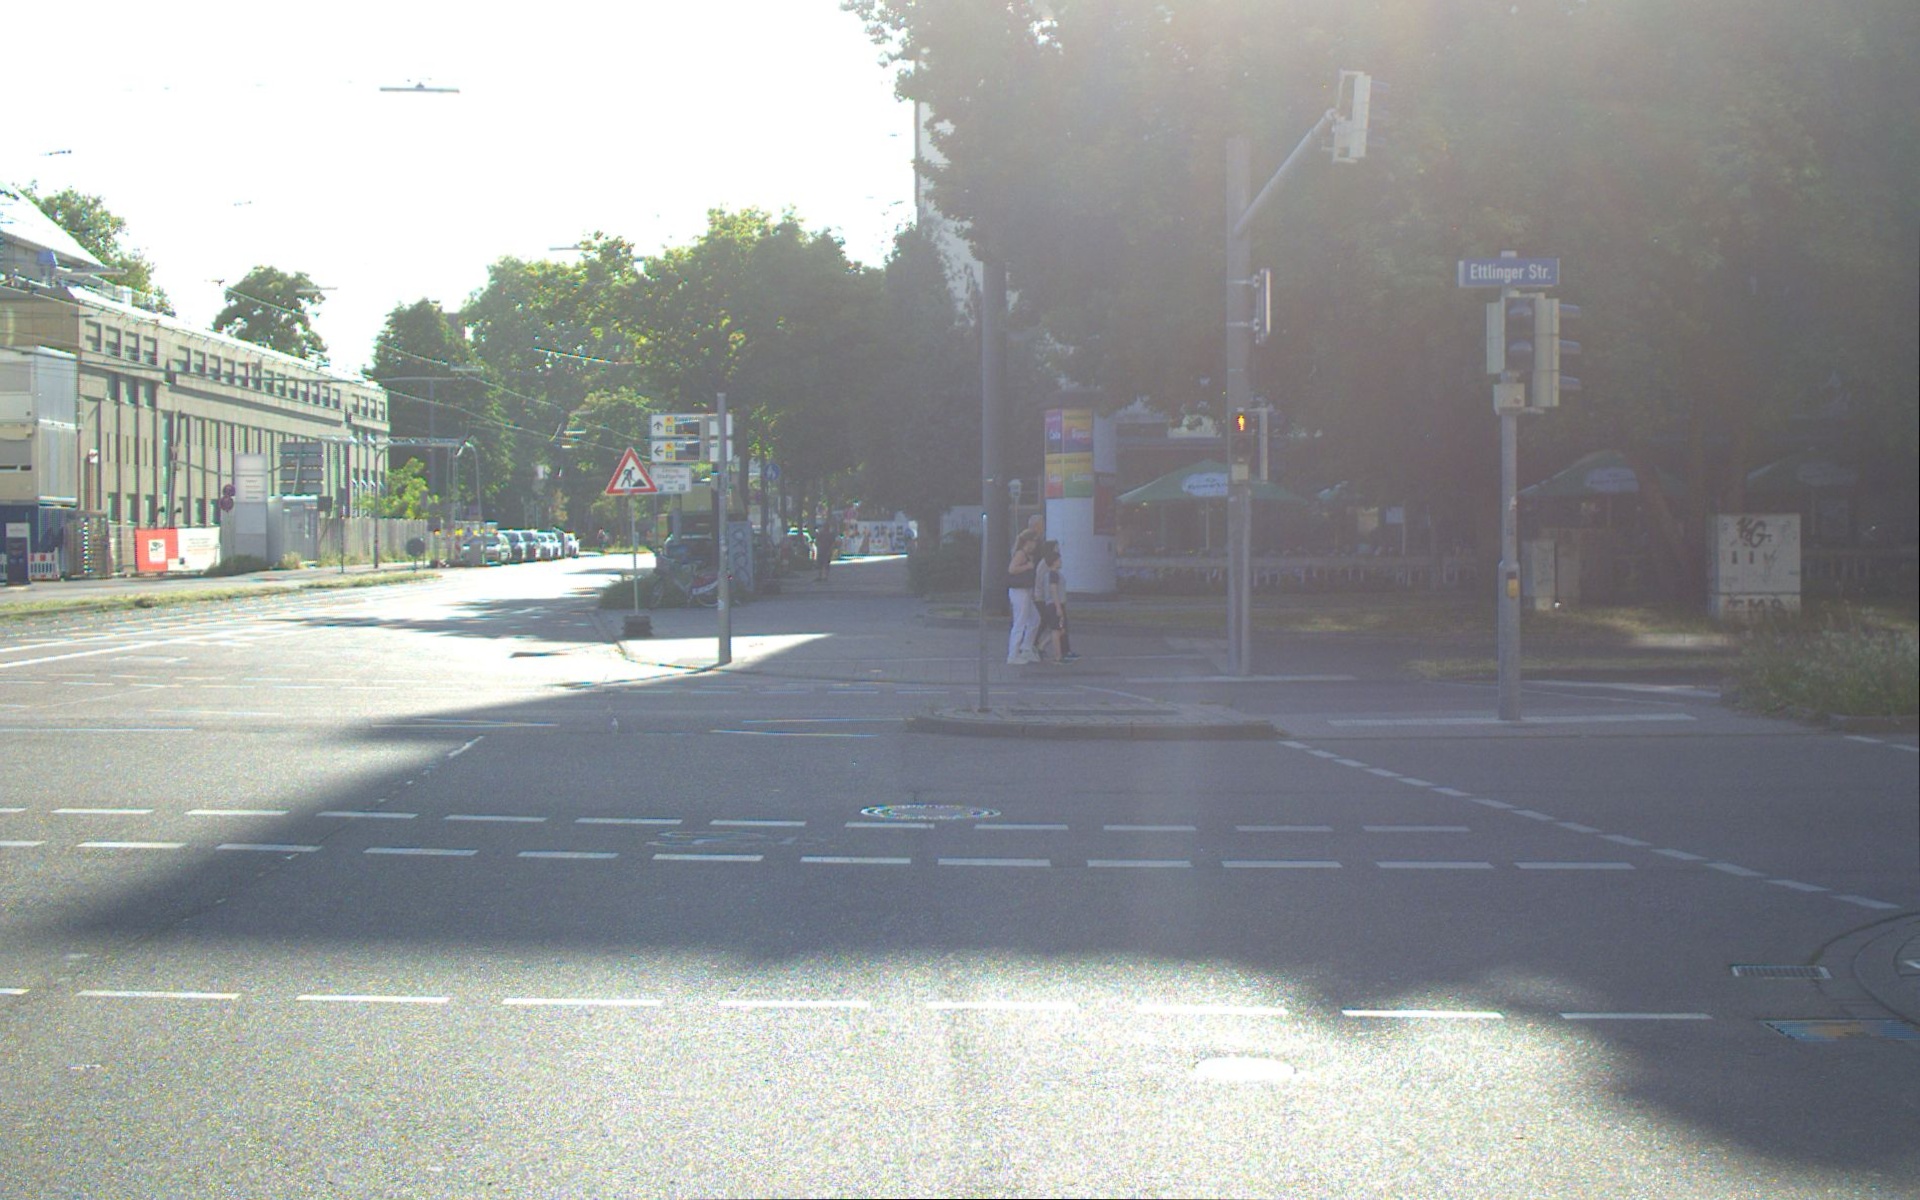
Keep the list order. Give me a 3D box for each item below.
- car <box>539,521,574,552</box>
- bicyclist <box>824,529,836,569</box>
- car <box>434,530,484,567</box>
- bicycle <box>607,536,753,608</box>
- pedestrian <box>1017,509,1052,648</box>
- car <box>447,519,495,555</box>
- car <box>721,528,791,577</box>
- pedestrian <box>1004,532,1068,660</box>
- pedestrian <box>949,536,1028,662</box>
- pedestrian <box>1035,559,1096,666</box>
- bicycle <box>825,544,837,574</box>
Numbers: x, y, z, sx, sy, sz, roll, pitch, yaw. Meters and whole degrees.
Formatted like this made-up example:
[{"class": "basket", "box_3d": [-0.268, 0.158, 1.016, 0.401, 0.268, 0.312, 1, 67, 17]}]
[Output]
[{"class": "car", "box_3d": [-22.827, -3.590, 194.557, 1.483, 1.744, 4.000, -1, 1, -1]}, {"class": "bicyclist", "box_3d": [-3.718, -1.460, 98.419, 0.318, 1.123, 0.291, 0, 1, 1]}, {"class": "car", "box_3d": [-22.735, -2.329, 156.061, 1.731, 1.647, 4.000, 0, 1, -1]}, {"class": "bicycle", "box_3d": [-5.464, -0.553, 67.138, 2.748, 1.363, 0.630, 1, 0, 11]}, {"class": "pedestrian", "box_3d": [0.969, -0.277, 44.727, 0.361, 1.798, 0.506, 0, 1, 11]}, {"class": "car", "box_3d": [-22.768, -2.917, 160.199, 1.731, 1.647, 4.000, 0, 1, -1]}, {"class": "car", "box_3d": [-5.475, -1.298, 92.521, 1.819, 1.274, 4.001, 0, 1, -3]}, {"class": "pedestrian", "box_3d": [0.982, -0.056, 44.159, 0.795, 1.634, 0.533, 0, 1, 2]}, {"class": "pedestrian", "box_3d": [0.365, -0.018, 43.604, 0.984, 1.582, 0.660, 0, 0, 1]}, {"class": "pedestrian", "box_3d": [1.327, 0.149, 43.459, 0.752, 1.328, 0.742, 0, 1, 1]}, {"class": "bicycle", "box_3d": [-3.699, -1.182, 98.552, 0.324, 0.865, 1.483, -1, 1, -1]}]
